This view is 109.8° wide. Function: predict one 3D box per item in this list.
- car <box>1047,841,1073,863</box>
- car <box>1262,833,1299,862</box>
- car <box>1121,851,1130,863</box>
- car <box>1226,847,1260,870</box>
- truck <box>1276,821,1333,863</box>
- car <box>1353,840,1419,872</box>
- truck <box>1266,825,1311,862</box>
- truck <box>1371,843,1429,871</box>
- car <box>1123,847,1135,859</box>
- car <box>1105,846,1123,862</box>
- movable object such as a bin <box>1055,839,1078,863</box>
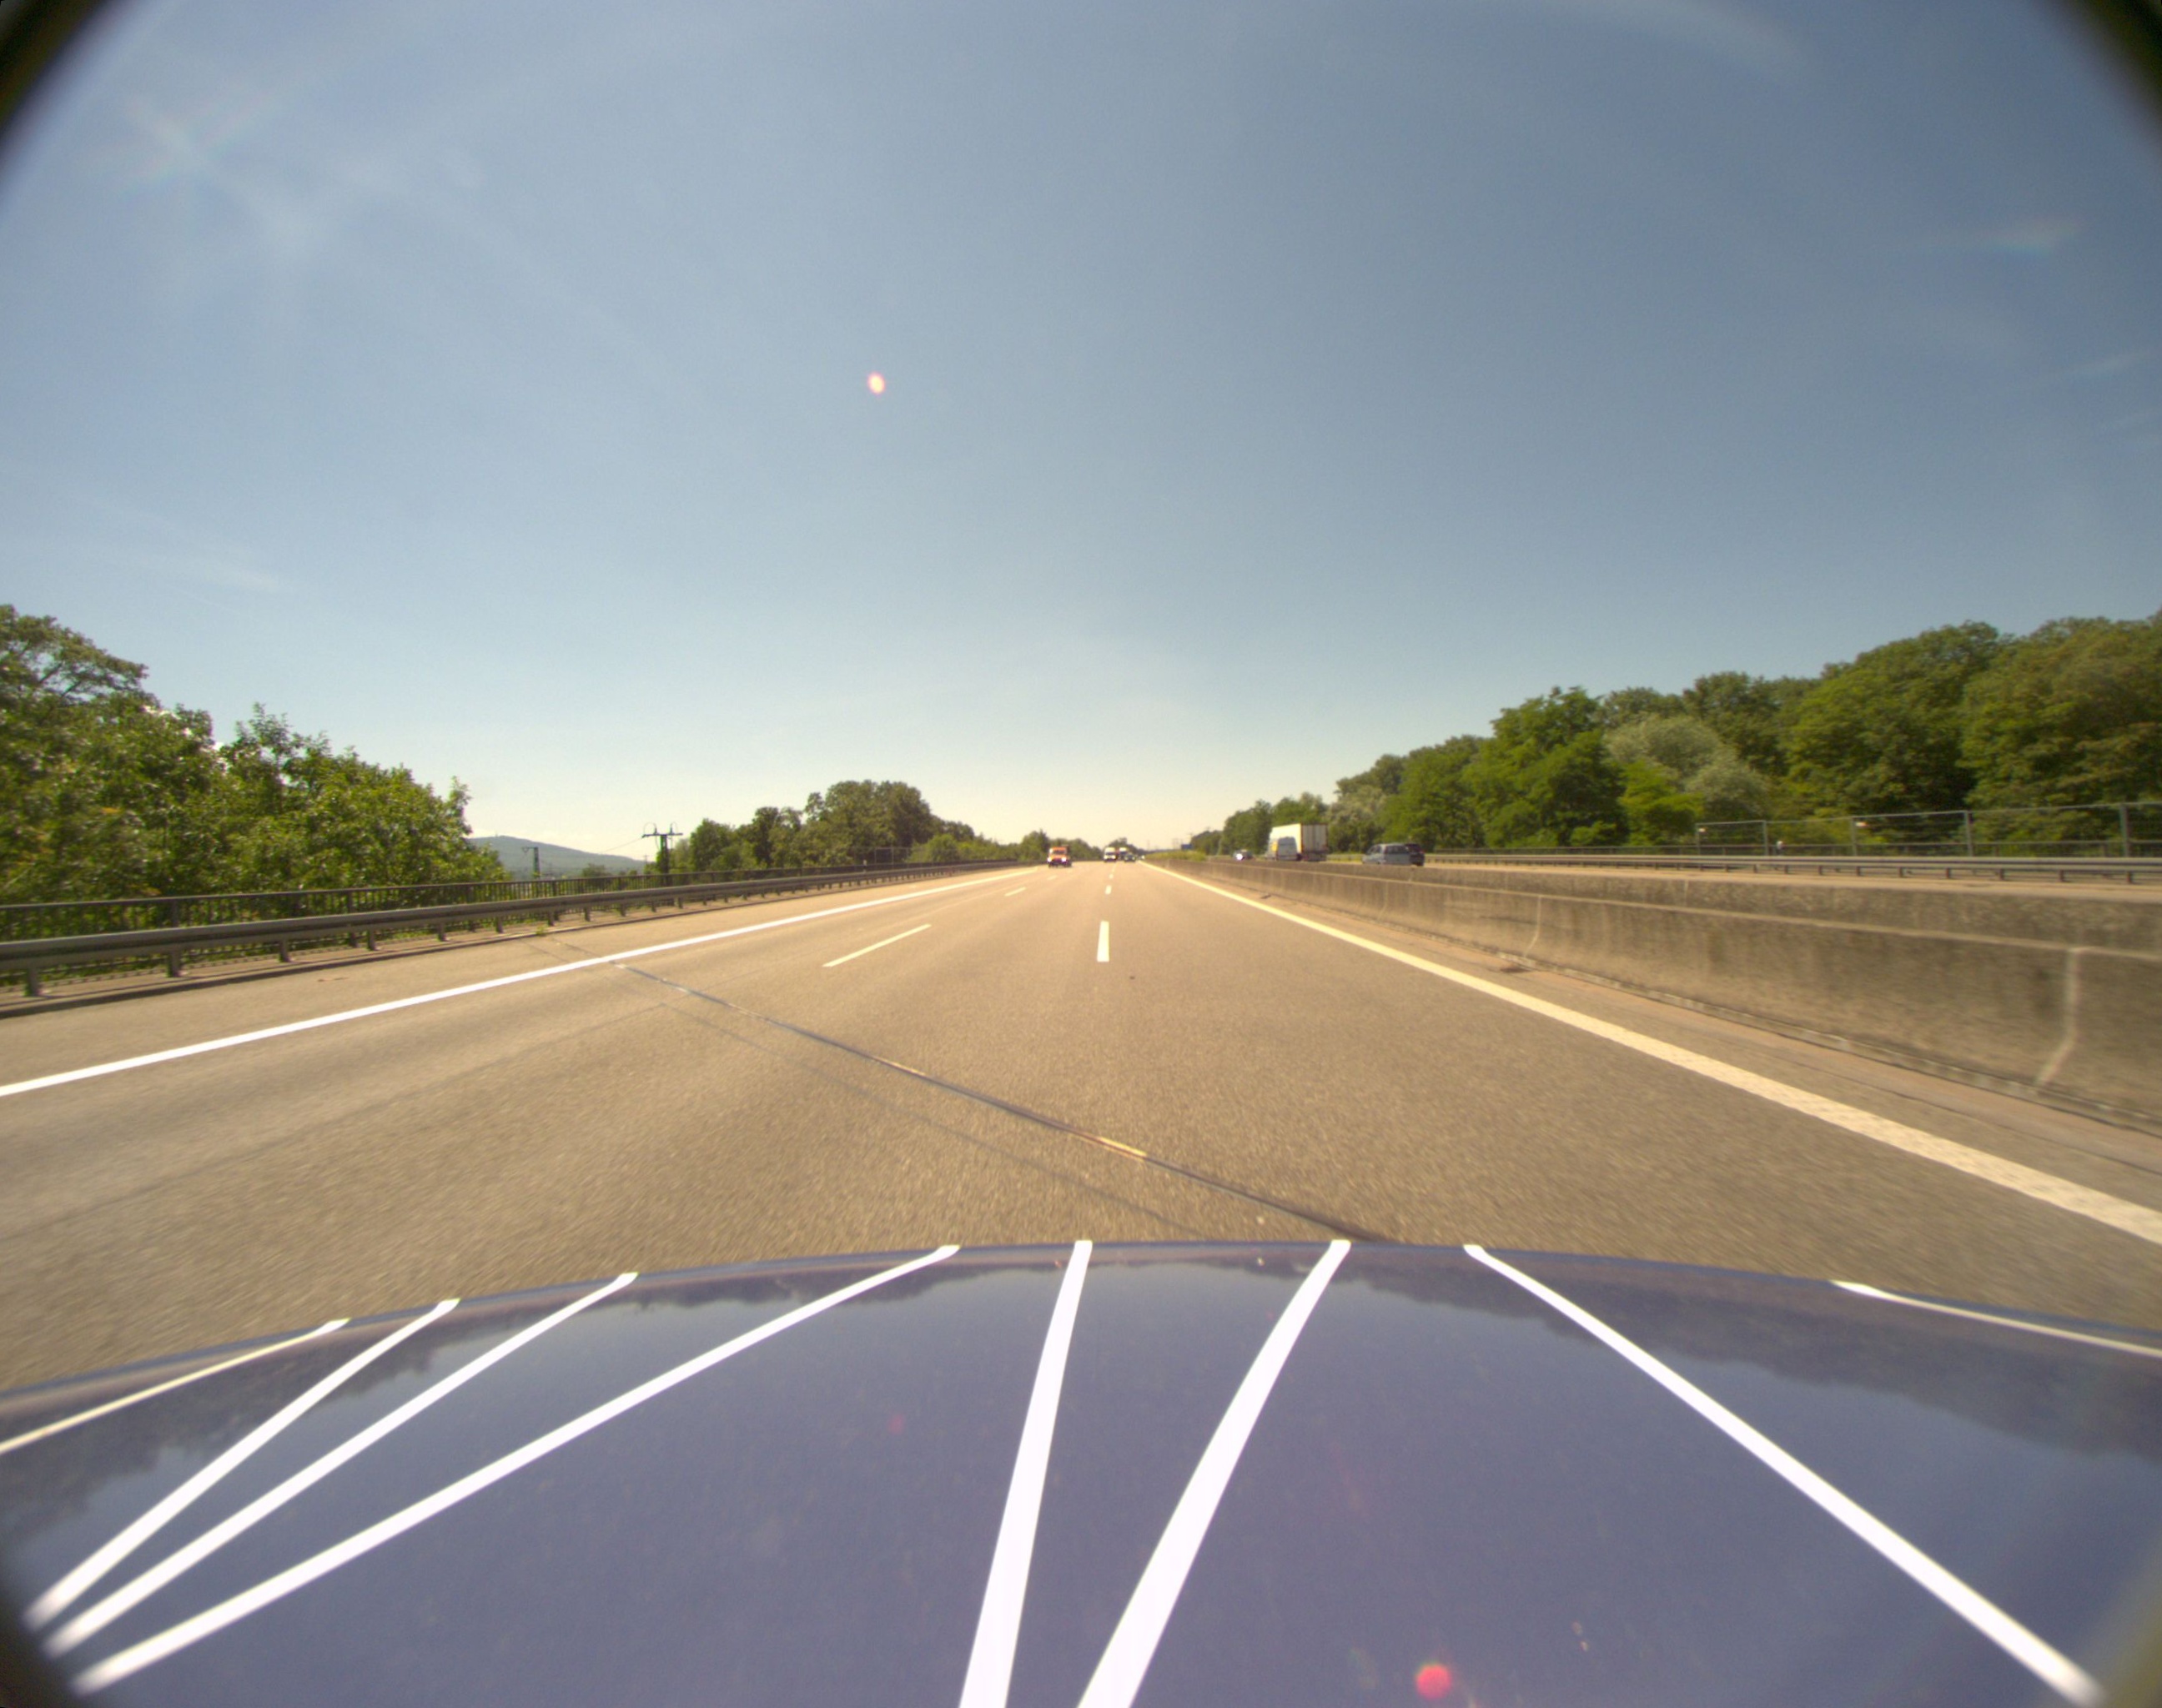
[{"bbox_3d":[-2.388,-0.223,89.786,1.997,2.390,7.231,-2,-1,7],"label":"car"},{"bbox_3d":[18.734,-0.621,71.549,1.998,2.553,6.129,-1,1,2],"label":"car"},{"bbox_3d":[14.755,0.995,252.607,2.796,4.089,7.308,-2,0,4],"label":"car"},{"bbox_3d":[13.662,0.353,64.252,1.998,1.838,4.000,-2,0,1],"label":"car"},{"bbox_3d":[23.236,-1.150,79.573,3.056,3.953,11.151,-2,0,3],"label":"truck"},{"bbox_3d":[17.224,0.098,43.143,2.004,1.702,4.539,-1,0,1],"label":"car"},{"bbox_3d":[23.521,-1.150,86.641,3.056,3.953,8.289,-2,0,3],"label":"truck"},{"bbox_3d":[21.523,0.193,51.549,1.998,1.790,4.742,-2,0,1],"label":"truck"},{"bbox_3d":[8.350,-0.234,133.172,1.998,2.002,4.000,-1,1,3],"label":"car"},{"bbox_3d":[6.148,0.044,141.748,2.520,2.856,6.404,-5,-1,7],"label":"car"},{"bbox_3d":[-1.805,-0.340,95.808,2.178,2.798,4.764,-2,-1,6],"label":"movable object such as a bin"}]
